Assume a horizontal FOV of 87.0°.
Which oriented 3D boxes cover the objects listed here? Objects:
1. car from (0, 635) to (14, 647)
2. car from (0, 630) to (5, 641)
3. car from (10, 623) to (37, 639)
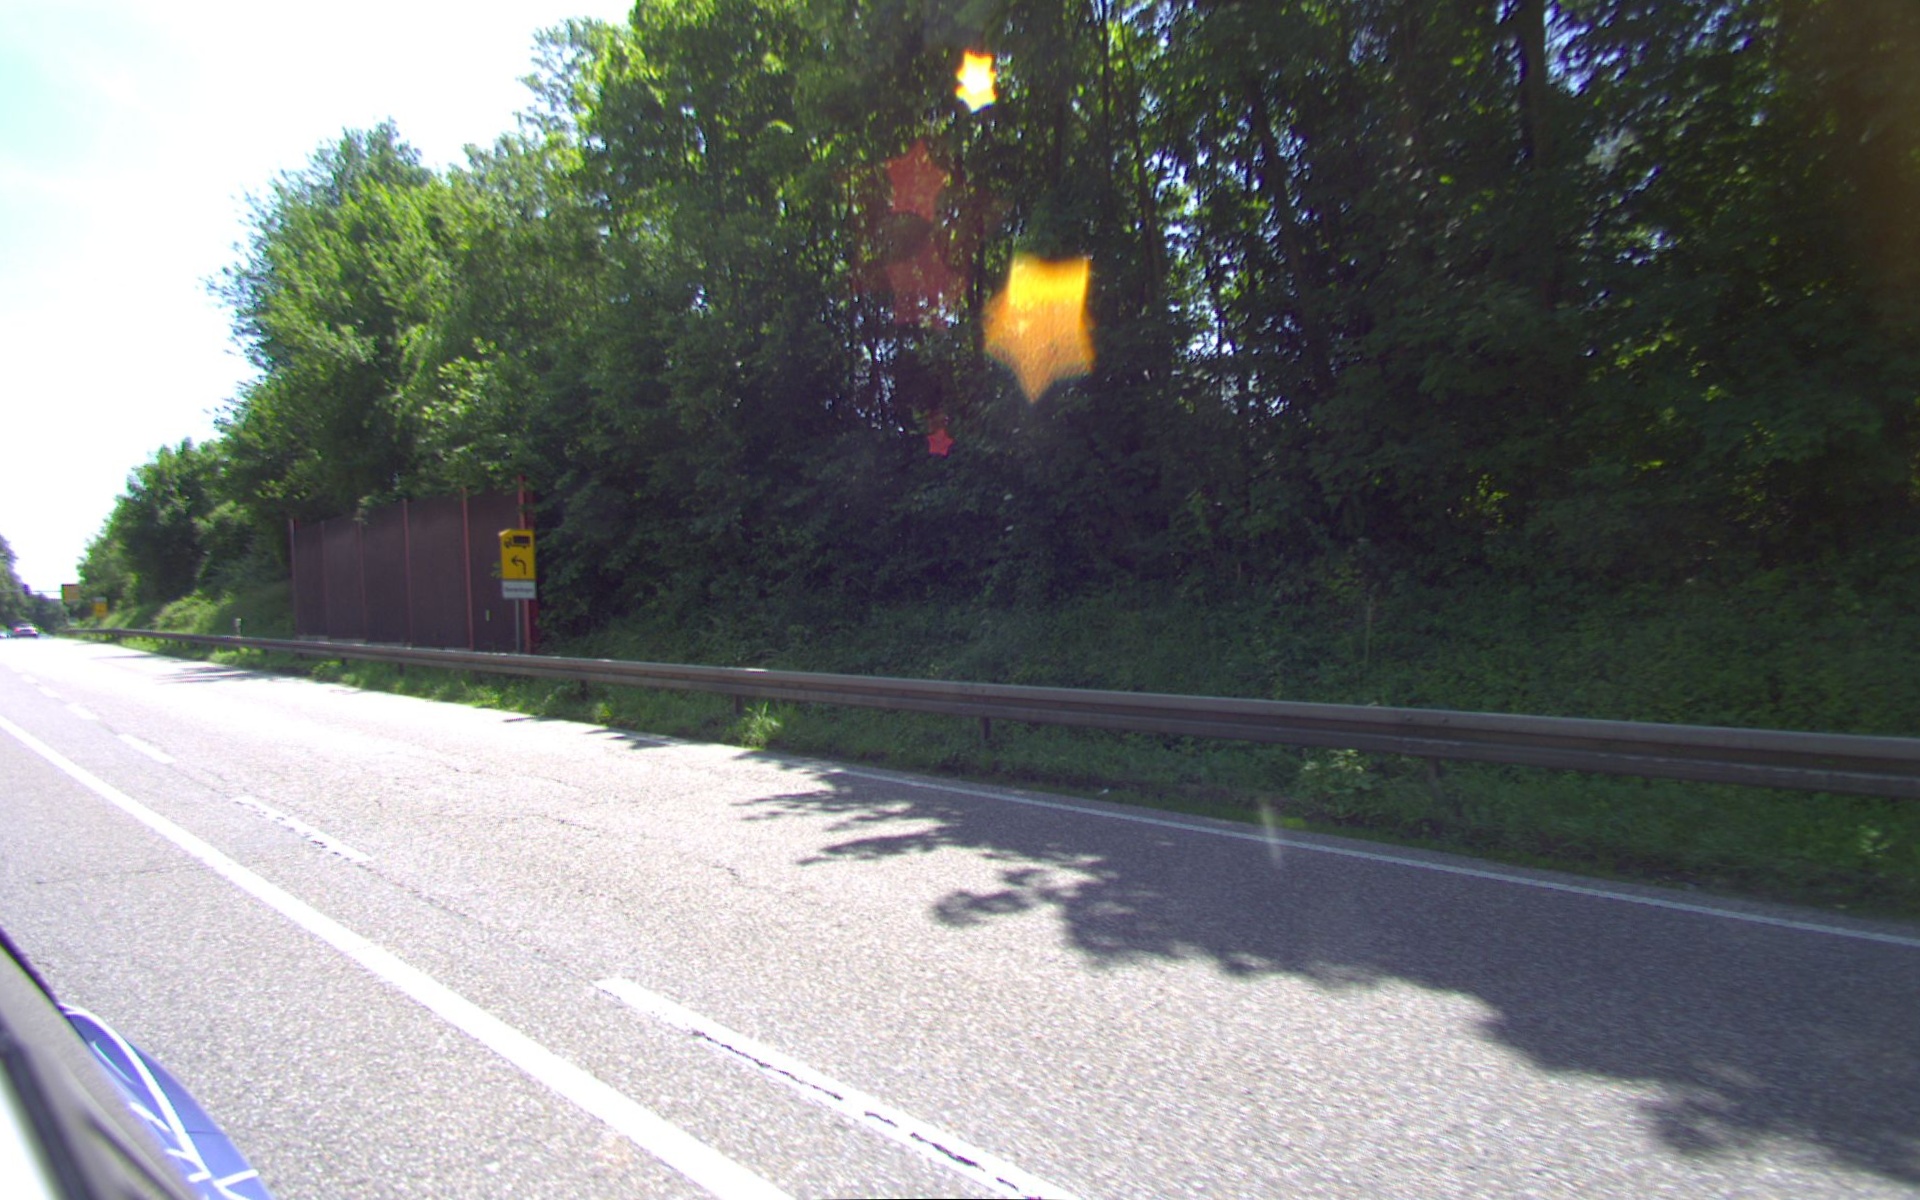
[{"bbox_3d":[-165.131,7.122,174.911,1.969,2.029,4.007,-3,0,-40],"label":"car"},{"bbox_3d":[-155.199,5.737,162.723,1.969,1.815,4.007,-3,0,-40],"label":"car"},{"bbox_3d":[-91.677,3.033,99.103,3.873,1.446,1.785,-2,-2,45],"label":"car"}]
